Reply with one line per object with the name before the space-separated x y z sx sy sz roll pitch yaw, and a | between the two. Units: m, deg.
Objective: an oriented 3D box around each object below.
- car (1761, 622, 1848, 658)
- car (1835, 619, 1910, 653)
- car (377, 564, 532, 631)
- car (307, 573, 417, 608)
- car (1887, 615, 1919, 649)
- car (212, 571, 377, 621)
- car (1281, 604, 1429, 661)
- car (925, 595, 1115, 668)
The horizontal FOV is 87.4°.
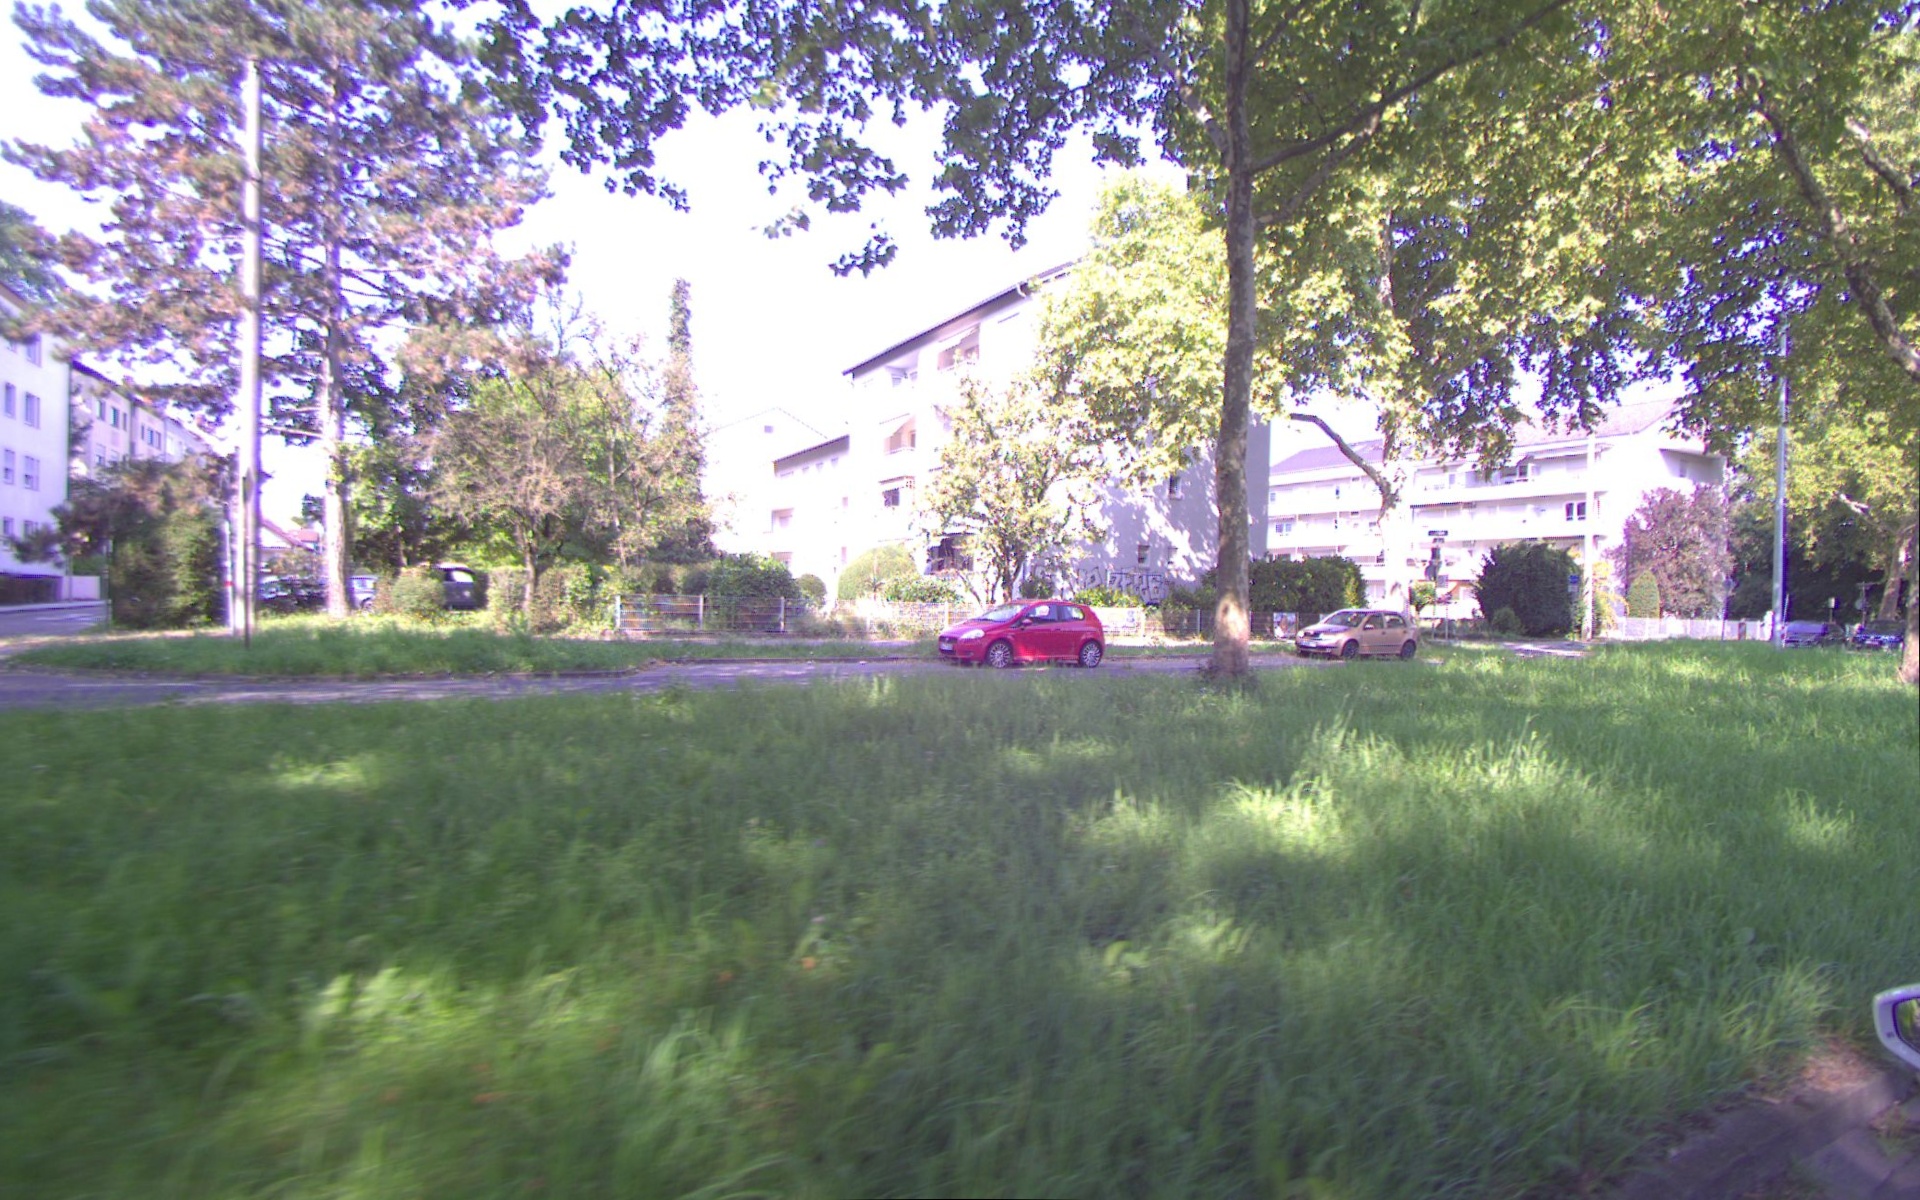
car | 38.314 1.798 45.554 4.489 1.528 1.690 2 0 -31
car | 45.578 1.802 50.151 3.955 1.588 1.690 2 0 -31
car | -15.847 -0.063 31.656 4.209 1.926 1.838 2 1 -26
car | -25.513 -0.401 42.993 3.952 1.350 1.640 2 1 -30
car | 51.991 1.739 54.183 4.607 1.755 1.690 2 1 -31
car | -22.267 -0.125 33.833 4.392 1.490 1.838 2 1 -26
car | 11.258 0.913 28.576 4.016 1.449 1.793 1 1 -30
car | 1.358 0.702 22.304 4.016 1.471 1.531 2 1 -30
